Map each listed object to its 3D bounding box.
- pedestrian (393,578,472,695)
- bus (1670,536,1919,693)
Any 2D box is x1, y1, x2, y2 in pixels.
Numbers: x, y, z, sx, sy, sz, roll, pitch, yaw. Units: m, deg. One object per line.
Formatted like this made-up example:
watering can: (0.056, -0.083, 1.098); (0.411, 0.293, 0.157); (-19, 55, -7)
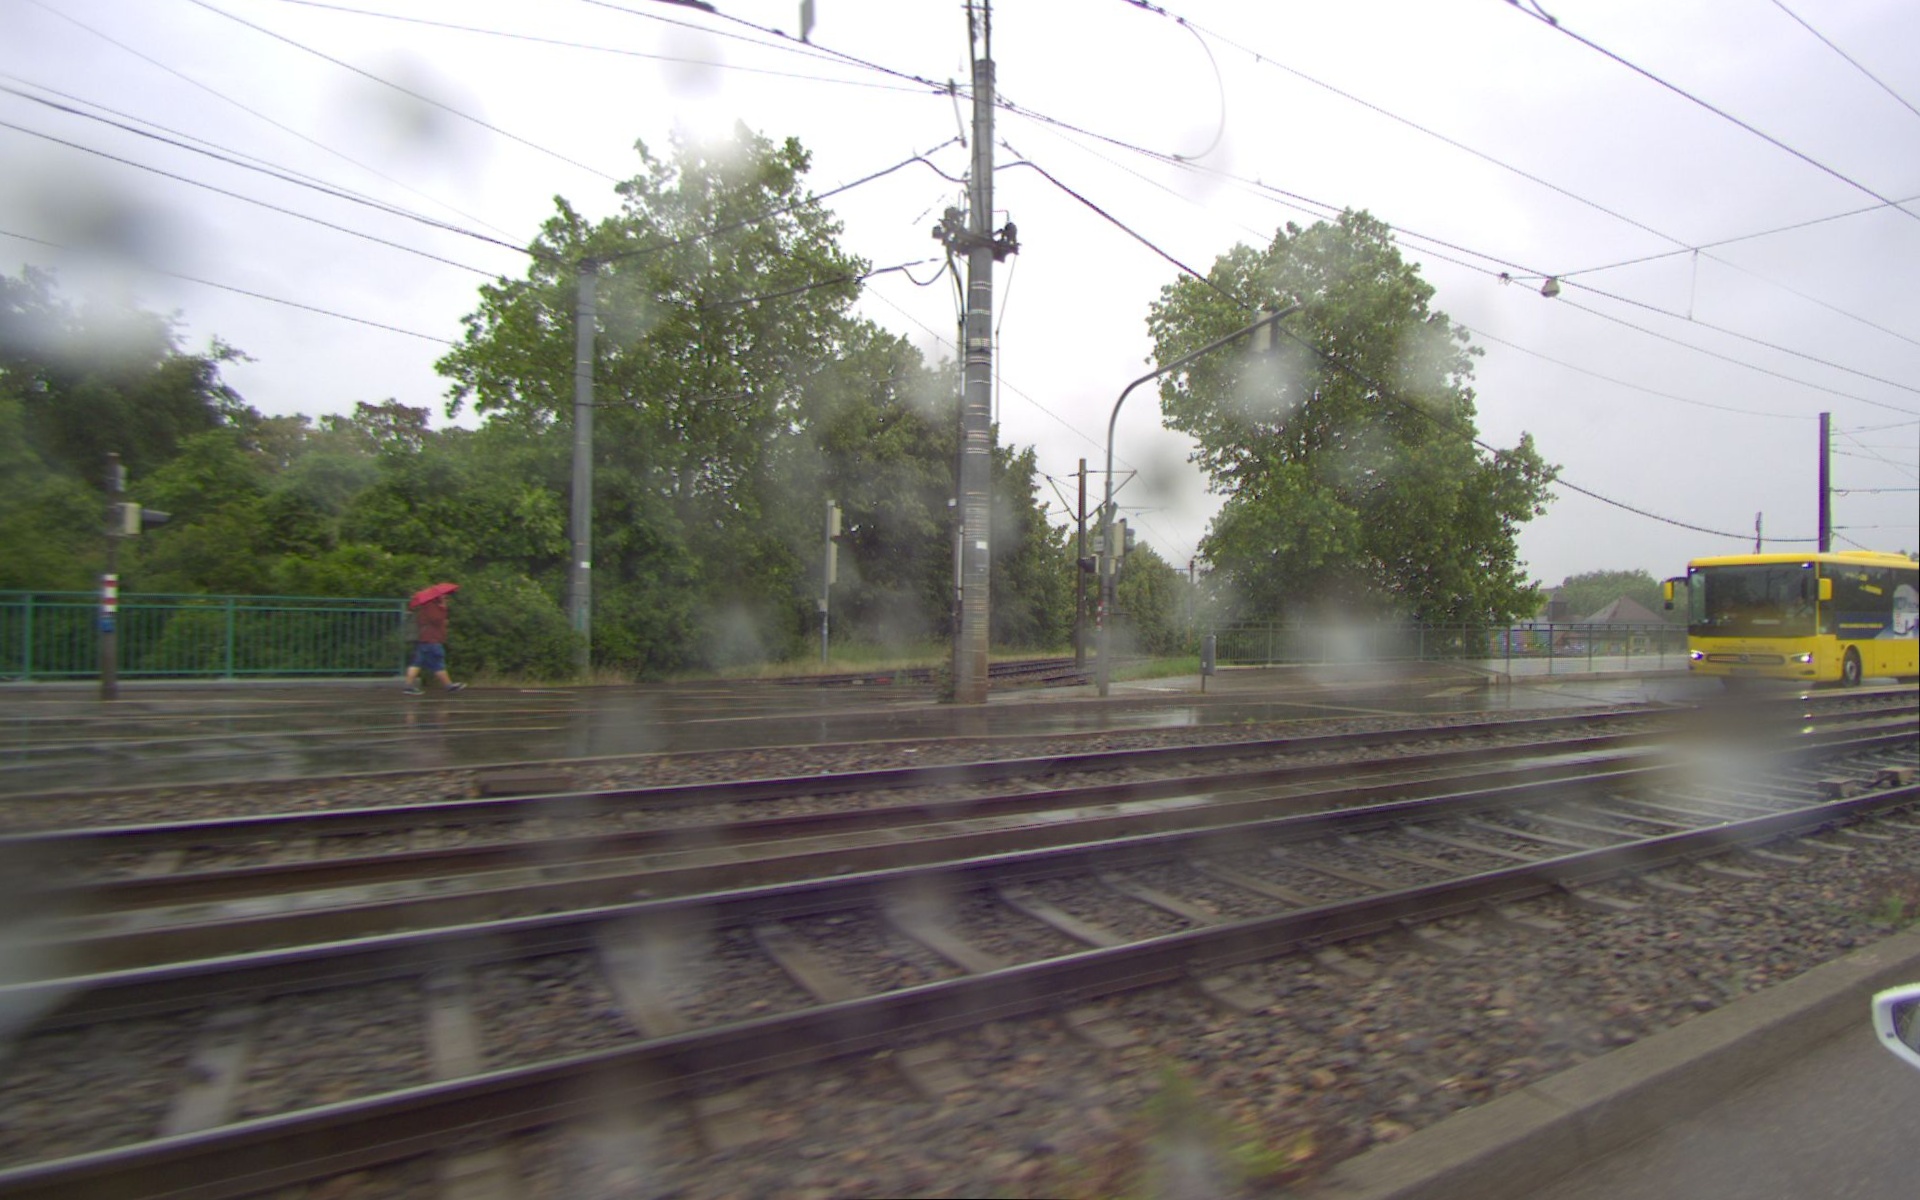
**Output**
pedestrian: (-8.670, 0.594, 16.496); (1.031, 1.843, 0.860); (3, 0, -32)
bus: (22.390, 0.370, 25.642); (10.864, 3.385, 2.696); (0, -2, -31)
